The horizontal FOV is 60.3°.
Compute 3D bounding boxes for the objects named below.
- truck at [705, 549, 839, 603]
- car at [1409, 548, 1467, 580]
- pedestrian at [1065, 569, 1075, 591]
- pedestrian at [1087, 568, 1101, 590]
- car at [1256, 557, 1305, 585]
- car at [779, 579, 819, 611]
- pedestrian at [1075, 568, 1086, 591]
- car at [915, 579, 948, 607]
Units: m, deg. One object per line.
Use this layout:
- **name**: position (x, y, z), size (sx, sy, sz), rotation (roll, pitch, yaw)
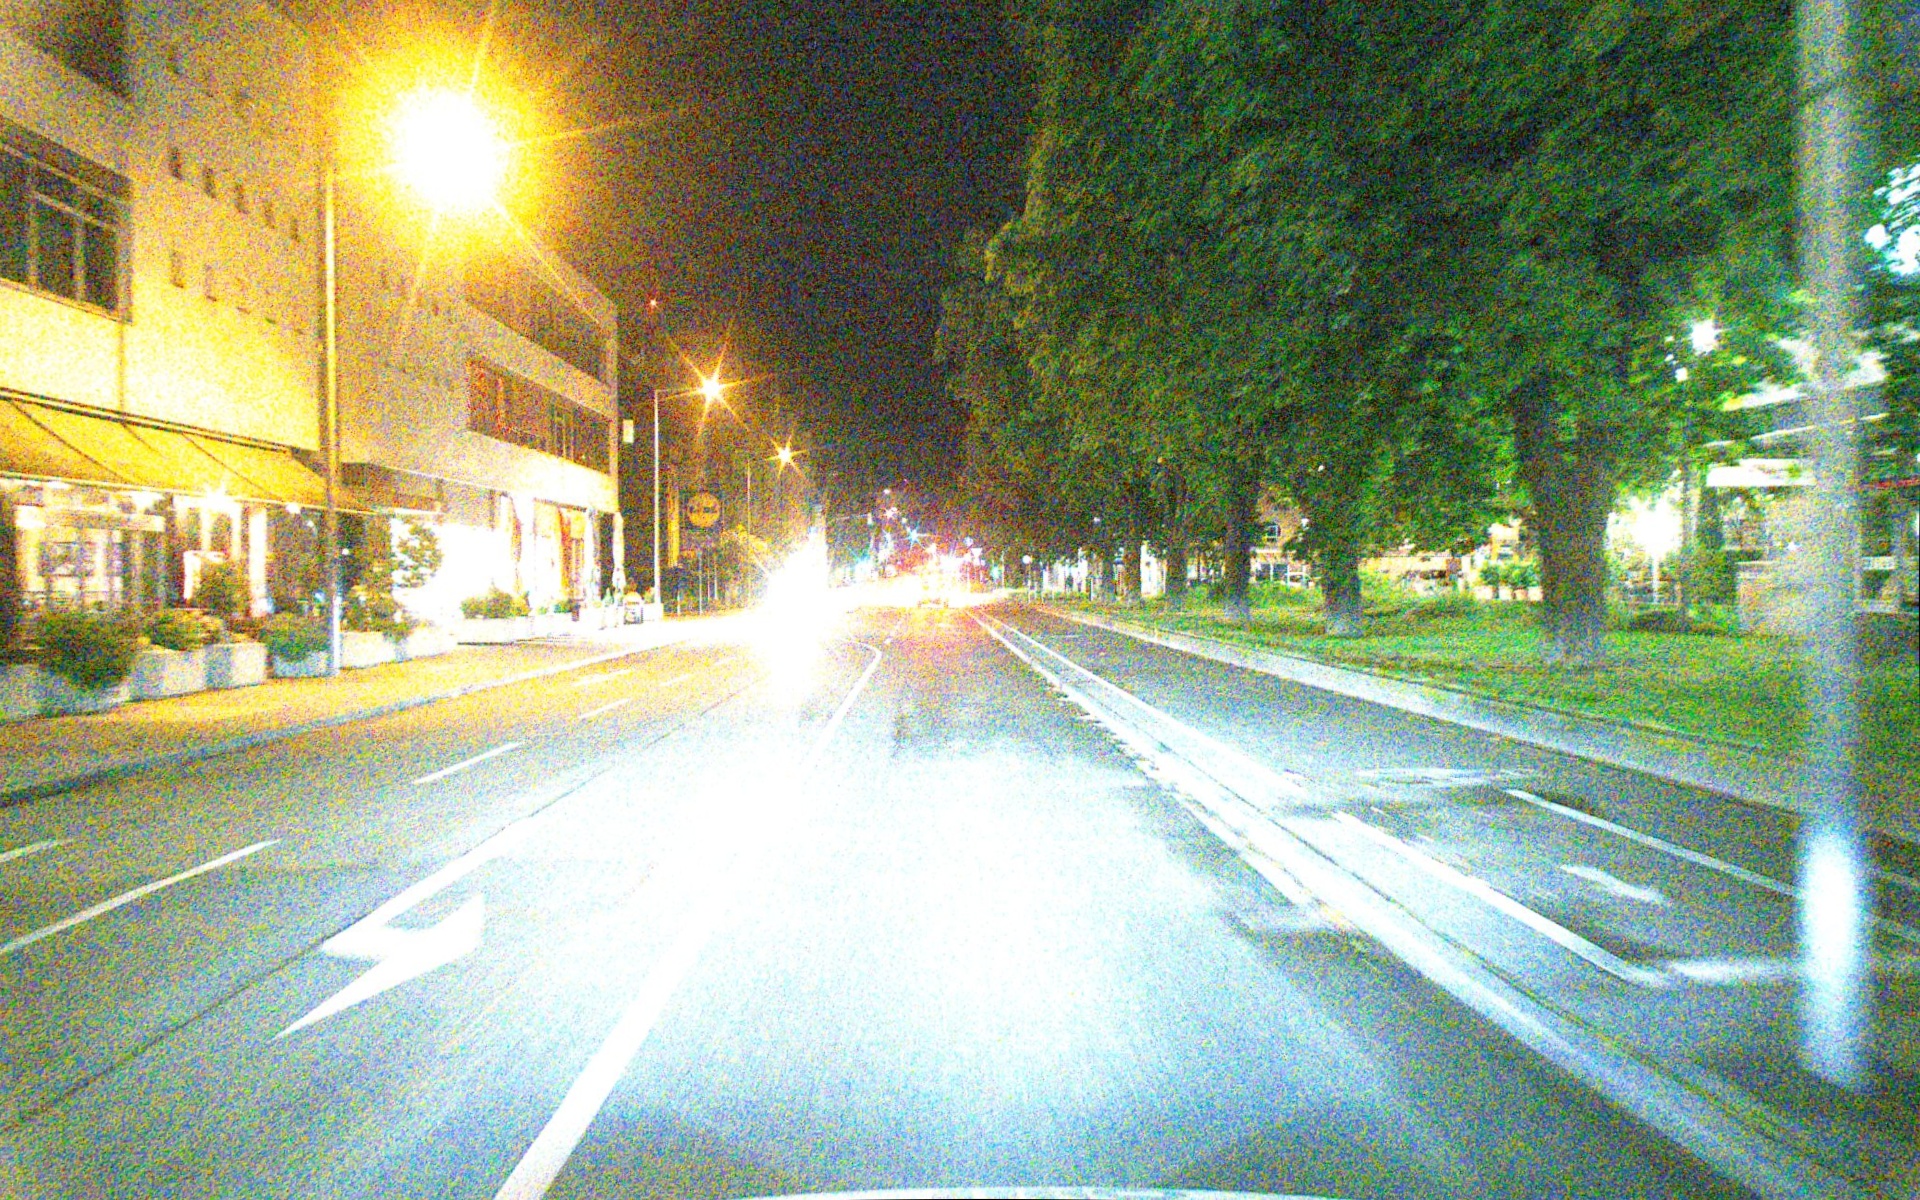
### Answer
- **truck**: position (-14.518, -1.885, 127.507), size (9.908, 3.782, 2.755), rotation (-2, 1, -14)
- **car**: position (24.614, -1.857, 85.242), size (1.732, 1.560, 4.098), rotation (-1, 1, -1)
- **pedestrian**: position (8.984, -1.614, 134.777), size (0.699, 1.799, 0.907), rotation (-1, 1, -2)
- **pedestrian**: position (10.902, -1.691, 134.823), size (0.884, 1.799, 0.905), rotation (-2, 1, -9)
- **car**: position (18.760, -1.685, 96.893), size (1.747, 1.560, 3.995), rotation (-1, 1, -6)
- **car**: position (-7.723, -0.256, 79.638), size (1.633, 1.453, 3.998), rotation (-2, 1, -2)
- **pedestrian**: position (9.796, -1.687, 134.570), size (0.724, 1.799, 0.907), rotation (-1, 1, -2)
- **car**: position (-1.581, -0.407, 92.284), size (1.768, 1.520, 4.729), rotation (1, 1, -1)
